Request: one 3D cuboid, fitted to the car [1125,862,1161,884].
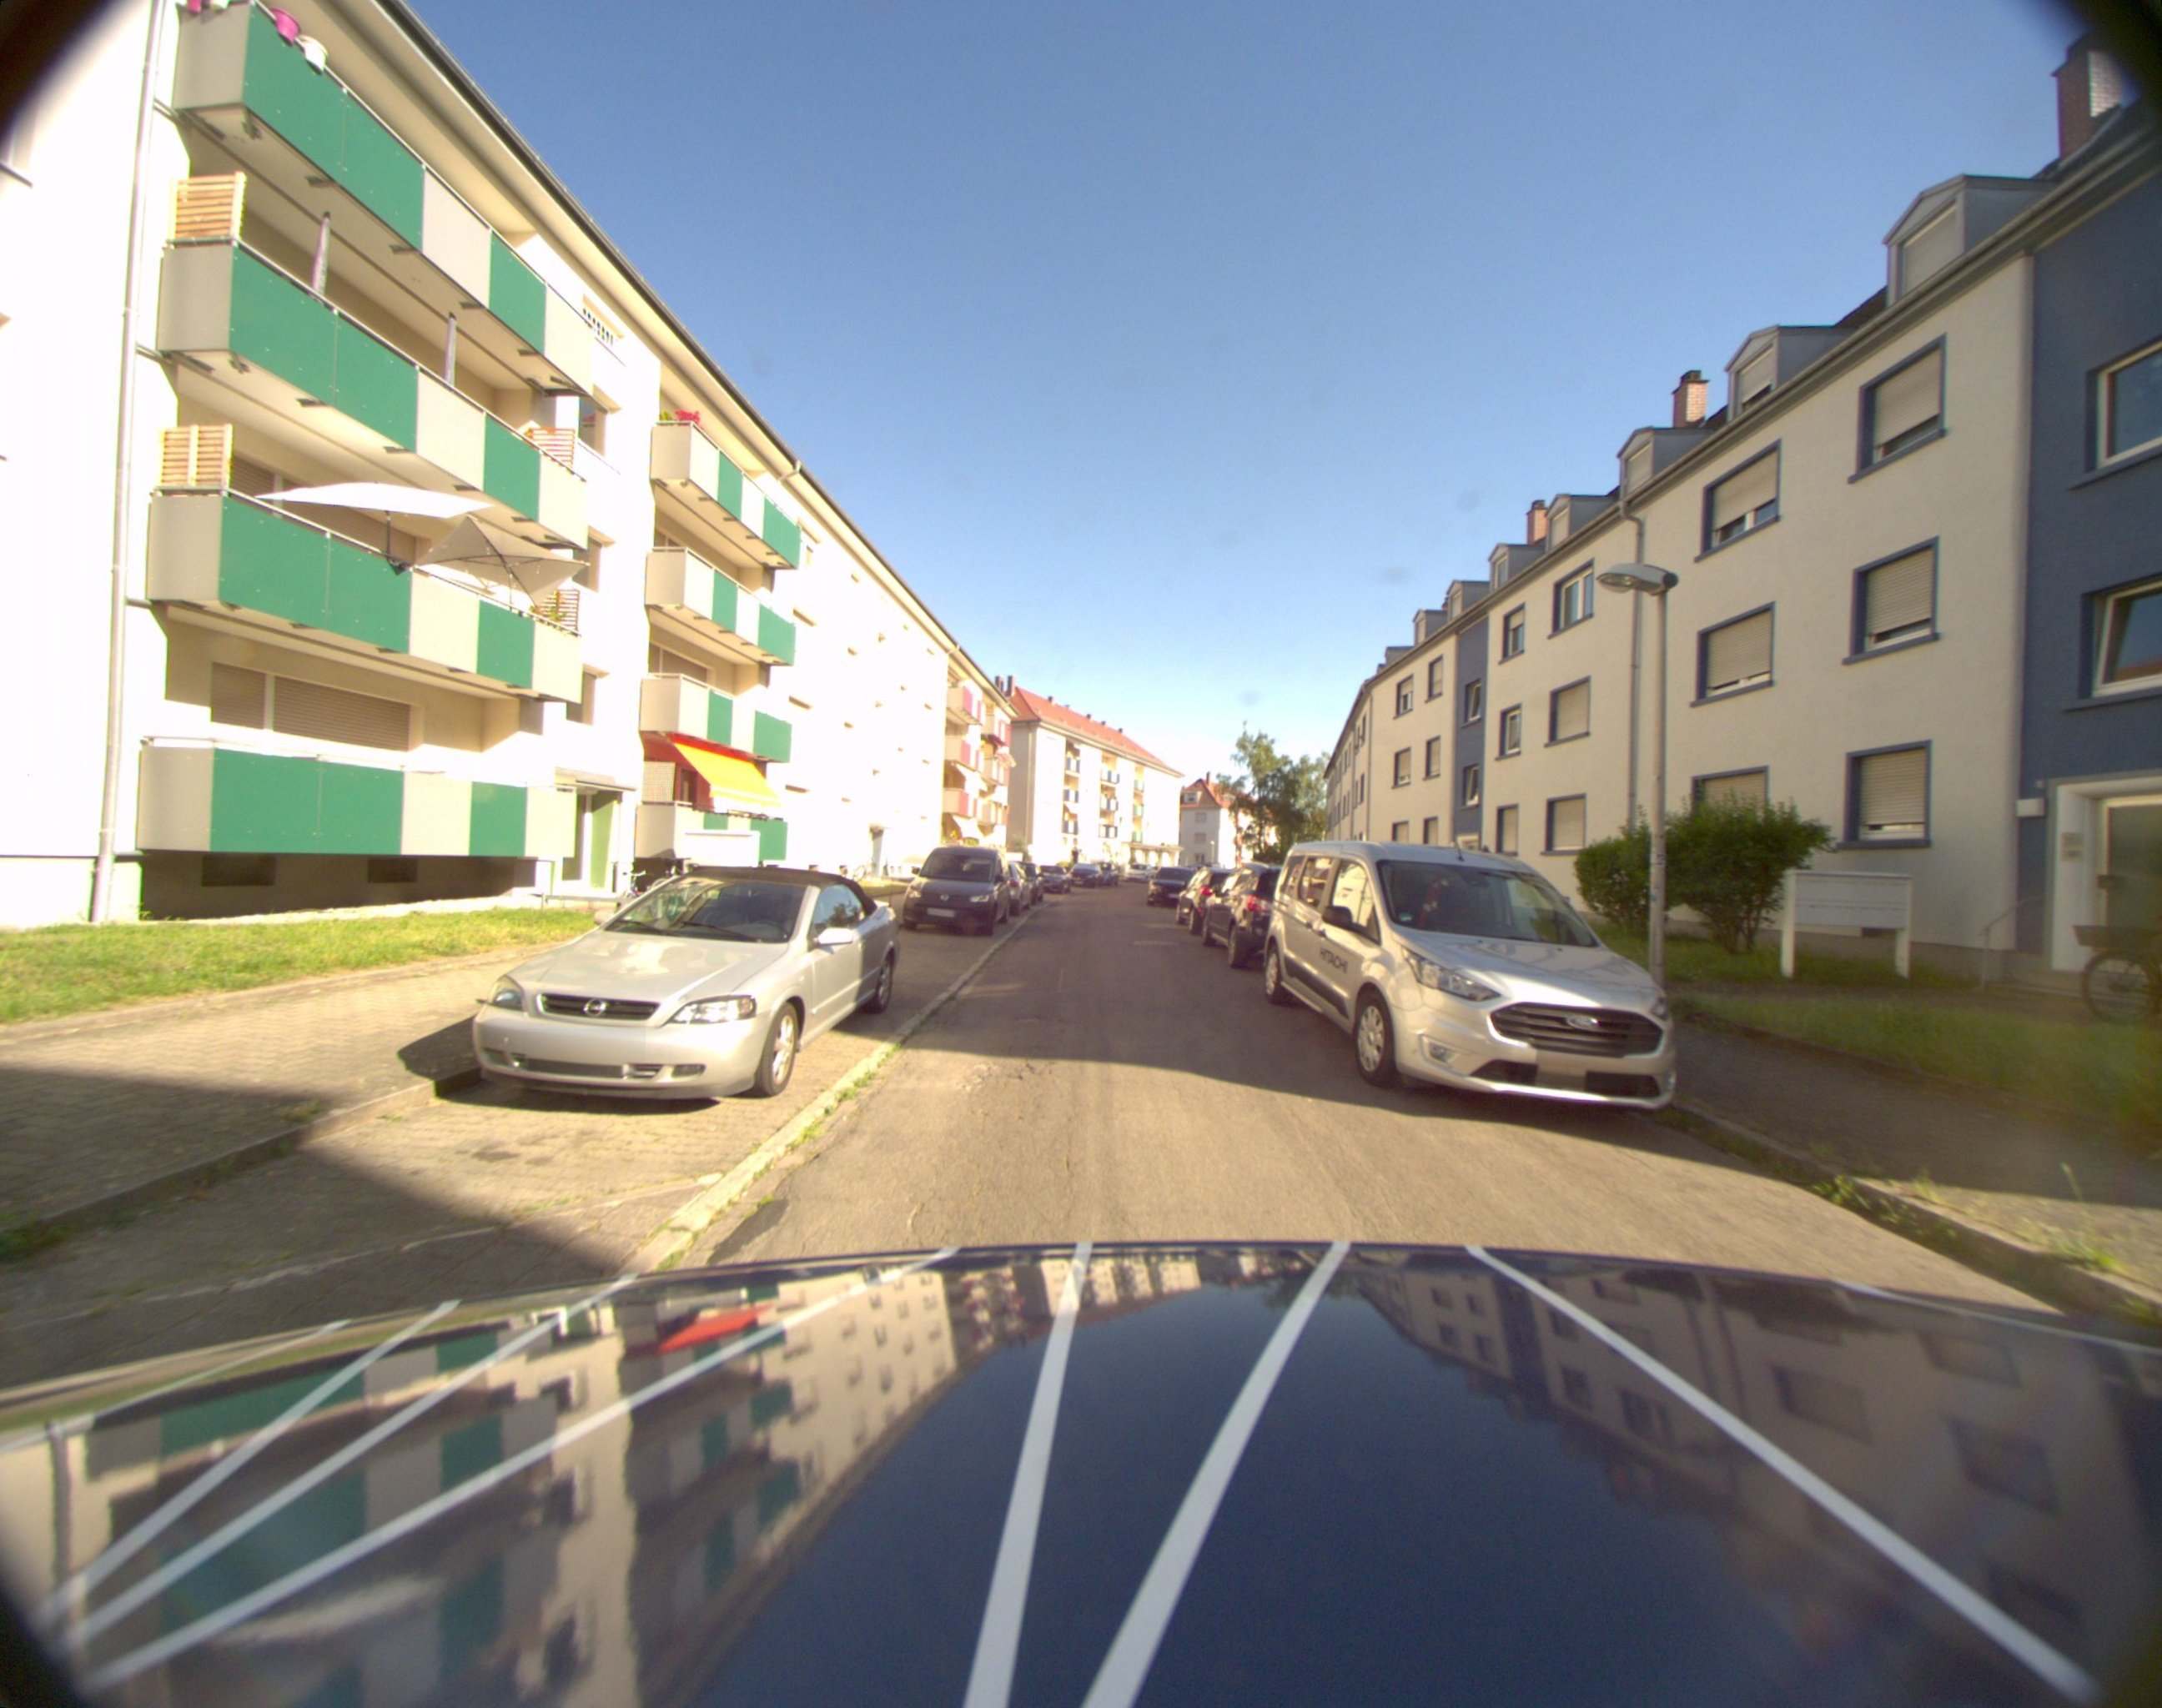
[{"bbox_3d":[5.212,1.584,63.654,1.754,1.625,4.414,4,0,21],"label":"car"}]

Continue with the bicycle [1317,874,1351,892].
[{"bbox_3d":[13.943,1.610,41.888,1.733,0.984,0.463,-1,0,15],"label":"bicycle"}]

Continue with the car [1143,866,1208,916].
[{"bbox_3d":[3.316,1.253,27.443,1.904,1.450,4.397,5,0,3],"label":"car"}]

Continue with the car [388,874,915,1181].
[{"bbox_3d":[-2.698,0.960,6.103,1.746,1.398,4.313,4,0,-1],"label":"car"}]

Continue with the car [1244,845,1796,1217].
[{"bbox_3d":[2.839,0.945,6.486,1.804,1.819,4.949,5,0,1],"label":"car"}]

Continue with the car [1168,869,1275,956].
[{"bbox_3d":[3.018,1.203,16.981,1.648,1.510,3.703,5,0,1],"label":"car"}]

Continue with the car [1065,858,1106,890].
[{"bbox_3d":[0.328,1.178,45.737,1.580,1.752,4.243,4,0,12],"label":"car"}]

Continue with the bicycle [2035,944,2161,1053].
[{"bbox_3d":[10.752,1.393,7.469,2.073,0.956,0.501,-1,0,1],"label":"bicycle"}]

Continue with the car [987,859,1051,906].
[{"bbox_3d":[-2.110,0.936,26.806,1.667,1.440,3.861,4,0,3],"label":"car"}]

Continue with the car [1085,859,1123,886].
[{"bbox_3d":[1.616,1.256,51.394,1.755,1.724,4.005,-2,-1,13],"label":"car"}]

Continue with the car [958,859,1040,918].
[{"bbox_3d":[-2.274,0.932,21.942,1.643,1.450,3.861,4,0,3],"label":"car"}]

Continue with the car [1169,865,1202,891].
[{"bbox_3d":[6.861,1.545,49.680,1.639,1.539,3.653,5,0,15],"label":"car"}]

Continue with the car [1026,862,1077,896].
[{"bbox_3d":[-1.309,1.122,35.803,1.676,1.411,3.863,4,0,8],"label":"car"}]

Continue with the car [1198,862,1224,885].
[{"bbox_3d":[10.488,1.563,61.234,1.639,1.631,3.653,5,0,15],"label":"car"}]

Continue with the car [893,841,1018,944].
[{"bbox_3d":[-2.558,0.738,16.745,1.763,1.829,4.920,4,0,1],"label":"car"}]

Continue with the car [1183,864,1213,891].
[{"bbox_3d":[8.479,1.684,54.877,1.639,1.692,3.653,5,0,16],"label":"car"}]

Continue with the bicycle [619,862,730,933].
[{"bbox_3d":[-6.776,0.684,12.805,0.506,1.086,2.076,1,0,9],"label":"bicycle"}]

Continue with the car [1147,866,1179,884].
[{"bbox_3d":[7.532,1.903,69.419,1.754,1.420,4.475,4,0,21],"label":"car"}]

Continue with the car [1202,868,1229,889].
[{"bbox_3d":[11.635,2.118,65.570,1.639,1.566,3.654,5,0,18],"label":"car"}]

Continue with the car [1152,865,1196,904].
[{"bbox_3d":[4.121,1.305,34.054,1.745,1.507,3.985,5,0,6],"label":"car"}]

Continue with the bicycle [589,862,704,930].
[{"bbox_3d":[-7.319,0.666,12.930,0.506,1.038,2.076,1,0,9],"label":"bicycle"}]

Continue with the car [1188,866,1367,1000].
[{"bbox_3d":[2.920,1.091,12.225,1.677,1.582,4.164,6,0,0],"label":"car"}]
